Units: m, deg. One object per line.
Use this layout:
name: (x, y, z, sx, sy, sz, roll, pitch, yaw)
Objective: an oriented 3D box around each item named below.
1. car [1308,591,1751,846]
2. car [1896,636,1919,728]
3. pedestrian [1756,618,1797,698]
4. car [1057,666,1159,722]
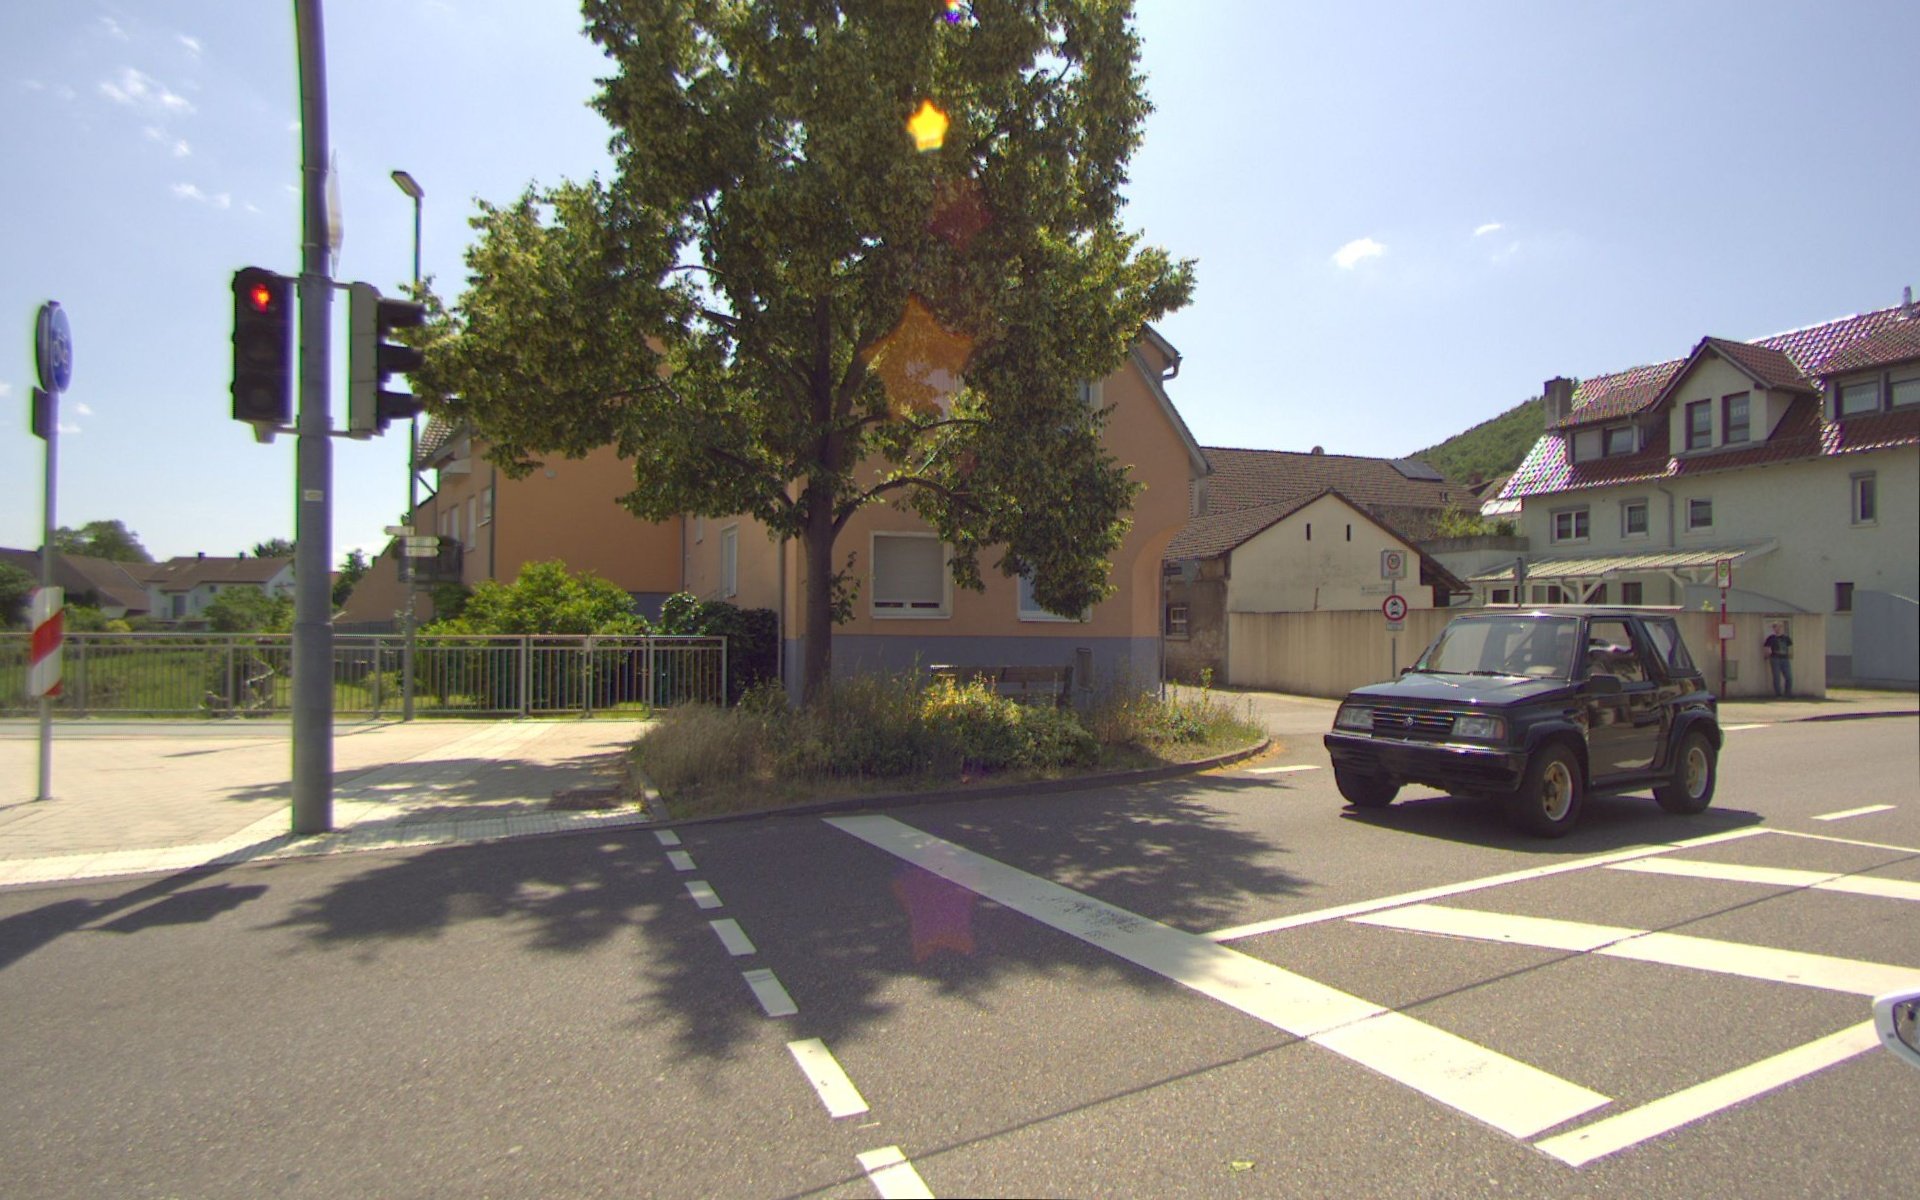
car: (4.774, 0.831, 8.323, 3.629, 1.673, 1.729, 1, -2, -33)
car: (17.321, 1.319, 15.997, 4.153, 1.461, 1.861, 2, -3, -20)
pedestrian: (18.472, 1.305, 22.732, 0.547, 1.788, 0.434, 0, -1, -10)
car: (4.798, 3.040, 33.096, 1.780, 1.483, 3.985, -1, -1, -17)
